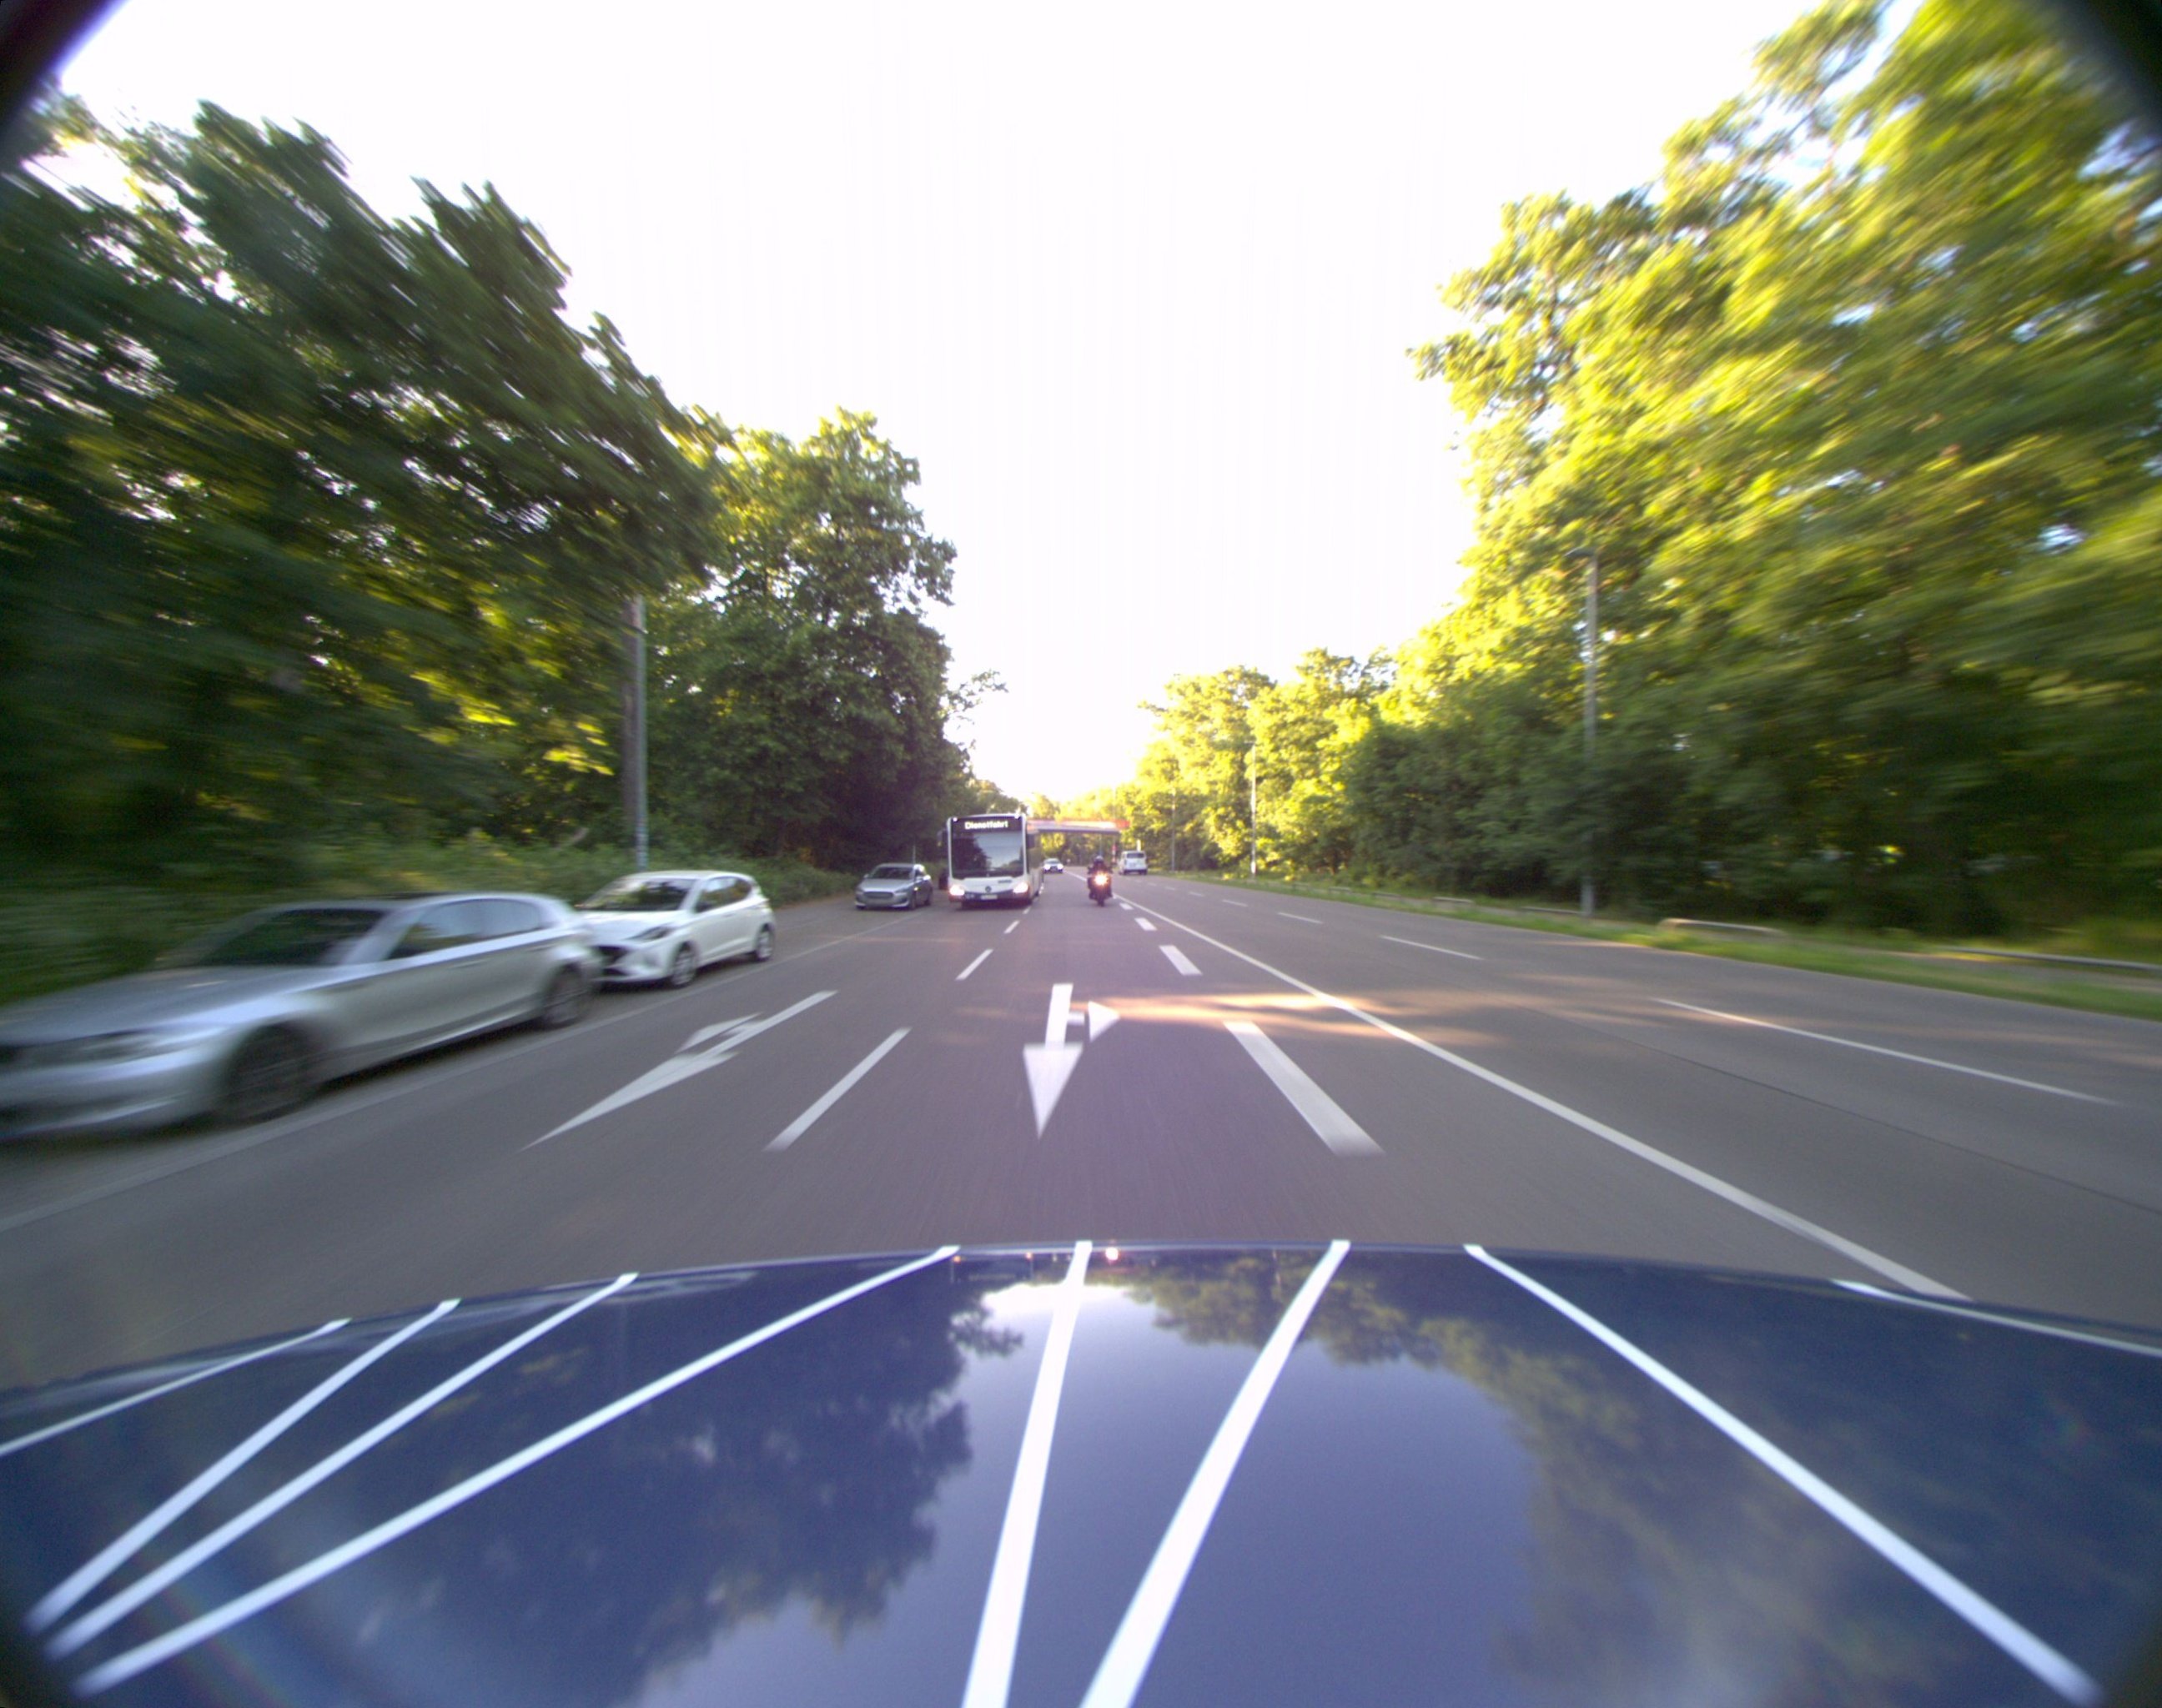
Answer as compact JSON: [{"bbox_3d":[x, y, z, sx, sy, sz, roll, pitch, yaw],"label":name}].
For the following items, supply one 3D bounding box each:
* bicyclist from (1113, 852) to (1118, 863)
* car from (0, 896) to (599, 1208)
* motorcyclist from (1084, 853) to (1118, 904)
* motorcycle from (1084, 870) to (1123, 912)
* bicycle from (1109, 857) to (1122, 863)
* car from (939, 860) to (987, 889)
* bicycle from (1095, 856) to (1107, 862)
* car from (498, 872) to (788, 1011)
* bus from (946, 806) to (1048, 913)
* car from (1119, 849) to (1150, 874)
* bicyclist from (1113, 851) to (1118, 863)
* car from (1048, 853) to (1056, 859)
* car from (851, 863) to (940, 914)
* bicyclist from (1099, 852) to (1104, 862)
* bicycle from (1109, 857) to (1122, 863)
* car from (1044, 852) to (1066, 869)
[{"bbox_3d":[5.449,0.504,120.084,0.797,1.687,0.945,-1,0,4],"label":"bicyclist"},{"bbox_3d":[-6.026,1.152,6.023,1.732,1.401,4.090,0,0,1],"label":"car"},{"bbox_3d":[0.629,0.745,23.837,0.953,1.523,1.073,-3,0,-1],"label":"motorcyclist"},{"bbox_3d":[0.667,1.121,24.012,0.956,1.098,3.338,-3,0,-2],"label":"motorcycle"},{"bbox_3d":[5.517,0.929,121.374,1.931,0.929,0.825,0,0,4],"label":"bicycle"},{"bbox_3d":[-6.351,1.055,41.331,1.843,1.433,4.956,1,0,-1],"label":"car"},{"bbox_3d":[3.152,0.848,120.446,1.931,0.929,0.825,-1,0,4],"label":"bicycle"},{"bbox_3d":[-5.953,1.080,10.997,1.732,1.513,4.090,-1,0,1],"label":"car"},{"bbox_3d":[-2.849,0.150,29.382,2.711,3.203,12.277,-1,0,-1],"label":"bus"},{"bbox_3d":[4.508,0.571,64.677,1.999,1.981,4.995,-2,1,-3],"label":"car"},{"bbox_3d":[5.472,0.412,121.363,0.797,1.890,0.817,-1,0,4],"label":"bicyclist"},{"bbox_3d":[-6.337,0.425,164.642,1.686,1.398,3.888,-2,0,-4],"label":"car"},{"bbox_3d":[-6.068,1.090,25.397,1.732,1.433,4.666,1,0,1],"label":"car"},{"bbox_3d":[3.262,0.475,120.430,0.797,1.634,0.841,-1,0,4],"label":"bicyclist"},{"bbox_3d":[5.482,0.921,120.075,1.931,0.929,0.825,-1,0,4],"label":"bicycle"},{"bbox_3d":[-2.704,0.650,78.564,1.999,1.761,4.229,-1,0,-6],"label":"car"}]
